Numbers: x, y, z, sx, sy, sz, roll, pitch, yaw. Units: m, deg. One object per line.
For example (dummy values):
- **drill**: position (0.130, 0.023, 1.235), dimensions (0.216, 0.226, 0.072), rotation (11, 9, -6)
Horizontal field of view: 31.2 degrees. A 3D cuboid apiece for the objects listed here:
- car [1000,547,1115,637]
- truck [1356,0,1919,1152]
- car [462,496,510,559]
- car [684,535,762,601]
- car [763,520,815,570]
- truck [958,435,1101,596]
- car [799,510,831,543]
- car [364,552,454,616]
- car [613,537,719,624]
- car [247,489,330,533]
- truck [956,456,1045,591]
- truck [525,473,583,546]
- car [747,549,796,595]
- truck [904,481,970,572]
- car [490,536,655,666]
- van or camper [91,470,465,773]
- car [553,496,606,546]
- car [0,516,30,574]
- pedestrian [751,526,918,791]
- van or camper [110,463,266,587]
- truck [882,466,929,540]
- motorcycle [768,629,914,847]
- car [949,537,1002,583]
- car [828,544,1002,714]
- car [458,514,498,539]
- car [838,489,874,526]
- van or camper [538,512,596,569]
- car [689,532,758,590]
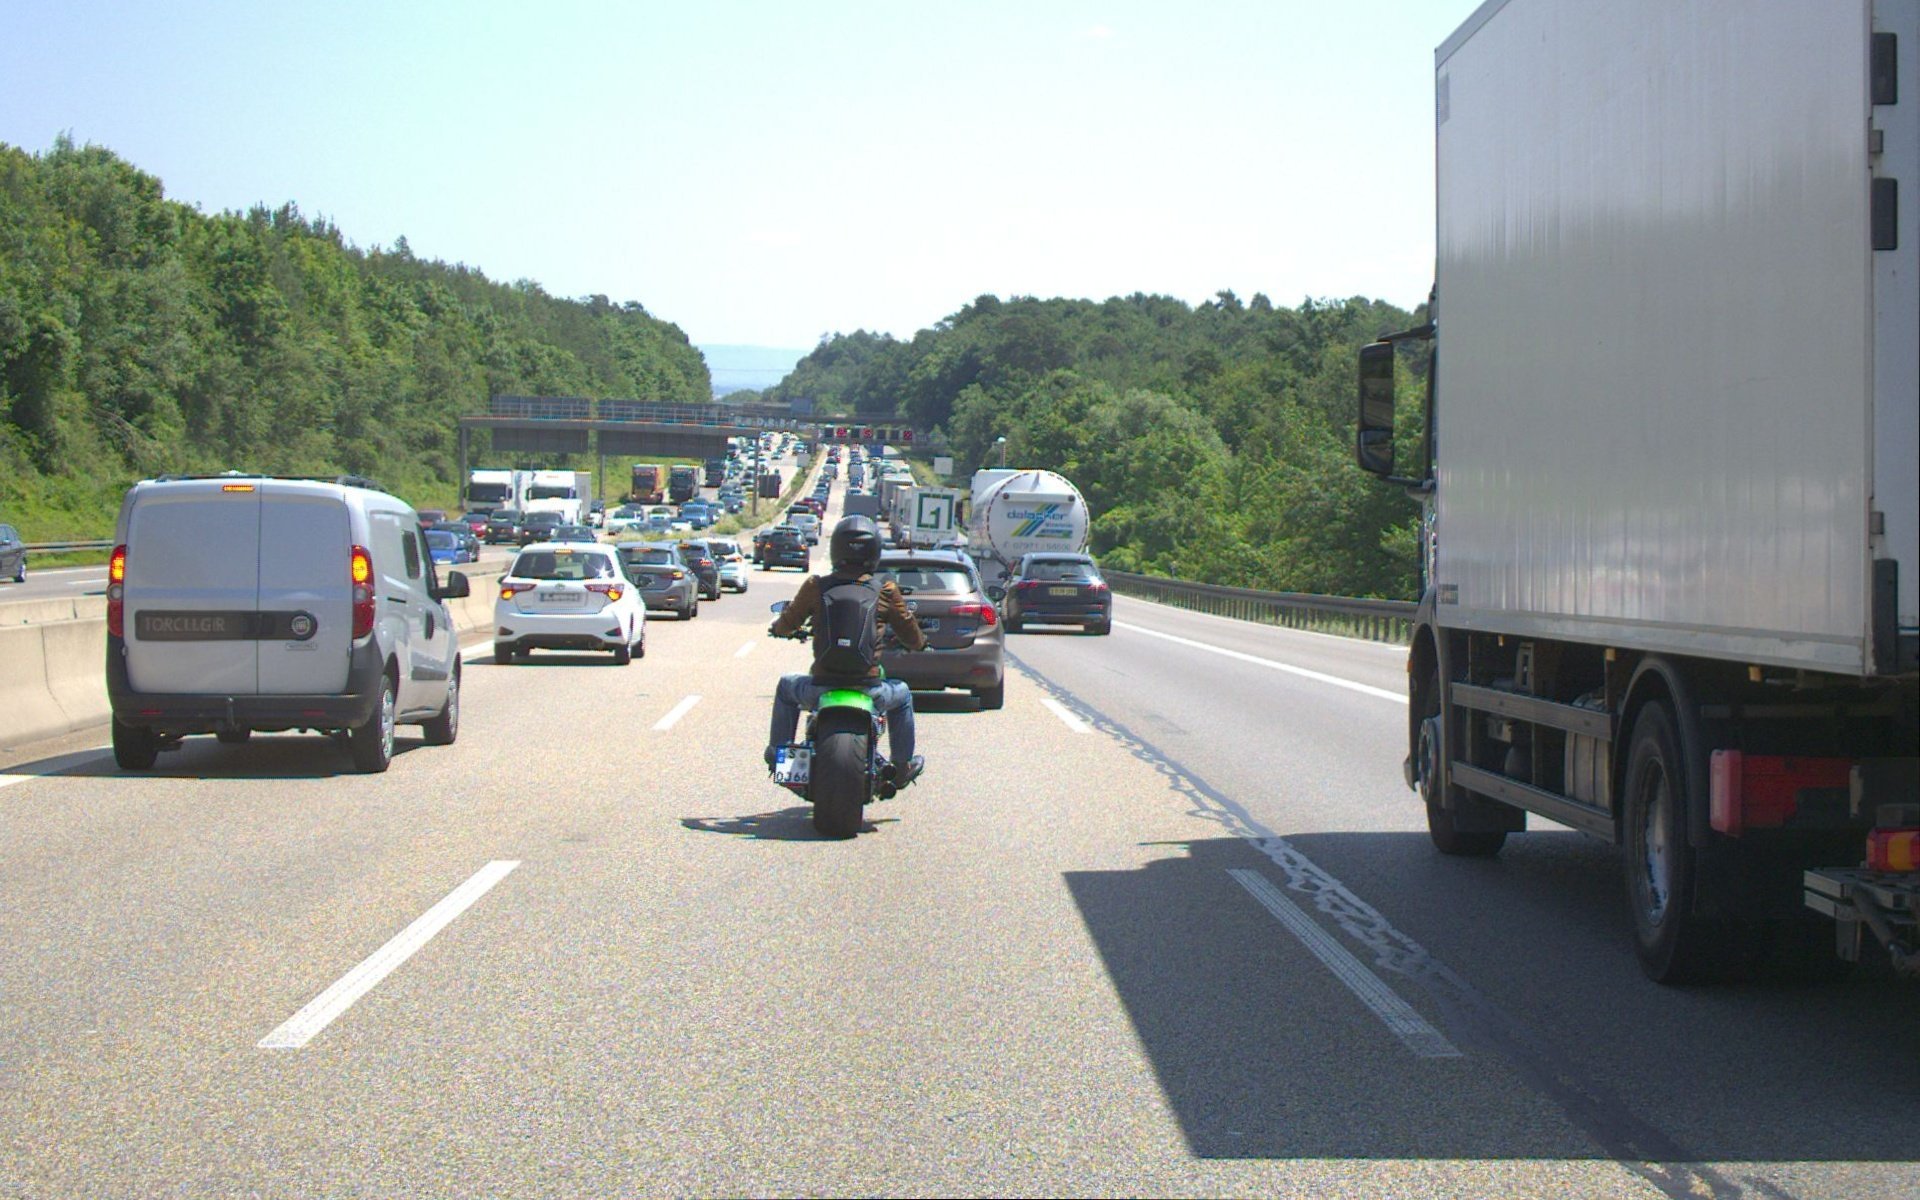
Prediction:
- **car**: position (1.755, -0.172, 63.063), dimensions (1.828, 1.465, 4.001), rotation (3, 1, -2)
- **truck**: position (3.570, -0.646, 13.500), dimensions (2.688, 3.863, 9.781), rotation (0, 1, -1)
- **car**: position (-29.198, -4.475, 212.063), dimensions (2.449, 3.860, 4.566), rotation (0, 1, -2)
- **car**: position (-5.771, -0.803, 83.988), dimensions (1.699, 1.473, 4.001), rotation (2, 1, -2)
- **car**: position (-6.810, -2.217, 137.346), dimensions (1.880, 1.853, 4.001), rotation (3, 1, -1)
- **truck**: position (1.592, -1.984, 83.231), dimensions (2.988, 3.659, 9.288), rotation (0, 1, -2)
- **car**: position (-9.204, -4.658, 218.131), dimensions (1.929, 2.007, 4.000), rotation (0, 1, -1)
- **car**: position (-13.797, -0.414, 86.295), dimensions (1.710, 1.532, 4.129), rotation (1, 1, -2)
- **car**: position (-5.505, -0.392, 64.775), dimensions (1.699, 1.473, 4.001), rotation (2, 1, -2)
- **car**: position (-21.463, -2.826, 110.054), dimensions (1.801, 1.342, 4.724), rotation (1, 1, -1)
- **truck**: position (1.063, -2.031, 92.308), dimensions (1.993, 3.510, 4.752), rotation (0, 0, -4)
- **truck**: position (-24.119, -5.381, 204.596), dimensions (2.840, 4.199, 5.660), rotation (2, 1, -2)
- **car**: position (-8.368, -1.265, 152.832), dimensions (1.993, 2.007, 4.000), rotation (0, 1, -1)
- **truck**: position (-1.293, -3.950, 183.800), dimensions (3.033, 4.526, 9.984), rotation (3, 1, -2)
- **car**: position (-4.852, -0.022, 43.478), dimensions (1.699, 1.473, 4.001), rotation (2, 1, -2)
- **van or camper**: position (-4.559, 0.114, 23.555), dimensions (1.796, 1.886, 4.160), rotation (0, 1, -1)
- **car**: position (-15.196, -3.159, 137.562), dimensions (1.891, 1.941, 4.001), rotation (0, 1, -3)
- **car**: position (-24.932, -1.400, 87.179), dimensions (1.577, 1.457, 4.389), rotation (0, 1, -1)
- **pedestrian**: position (-0.651, 0.292, 18.163), dimensions (0.849, 1.357, 0.961), rotation (0, 1, 0)
- **van or camper**: position (-17.751, -1.691, 79.414), dimensions (2.269, 2.726, 6.806), rotation (0, 1, -2)
- **truck**: position (-4.006, -7.082, 251.851), dimensions (3.033, 5.121, 9.984), rotation (3, 1, -2)
- **motorcycle**: position (-0.613, 0.704, 18.330), dimensions (0.691, 1.012, 2.121), rotation (2, 1, 0)
- **car**: position (0.557, -1.480, 126.314), dimensions (1.787, 1.550, 3.804), rotation (2, 1, -2)
- **car**: position (-0.381, 0.231, 32.947), dimensions (1.533, 1.504, 4.000), rotation (0, 1, 1)
- **car**: position (-27.747, -4.242, 198.017), dimensions (1.762, 1.365, 4.502), rotation (1, 1, -1)
- **car**: position (-7.670, -6.815, 253.473), dimensions (2.504, 2.578, 5.017), rotation (2, 1, -2)
- **van or camper**: position (-19.495, -2.959, 170.930), dimensions (2.230, 2.751, 6.837), rotation (1, 1, -1)
- **car**: position (-6.502, -1.080, 94.797), dimensions (1.699, 1.473, 4.001), rotation (2, 1, -2)
